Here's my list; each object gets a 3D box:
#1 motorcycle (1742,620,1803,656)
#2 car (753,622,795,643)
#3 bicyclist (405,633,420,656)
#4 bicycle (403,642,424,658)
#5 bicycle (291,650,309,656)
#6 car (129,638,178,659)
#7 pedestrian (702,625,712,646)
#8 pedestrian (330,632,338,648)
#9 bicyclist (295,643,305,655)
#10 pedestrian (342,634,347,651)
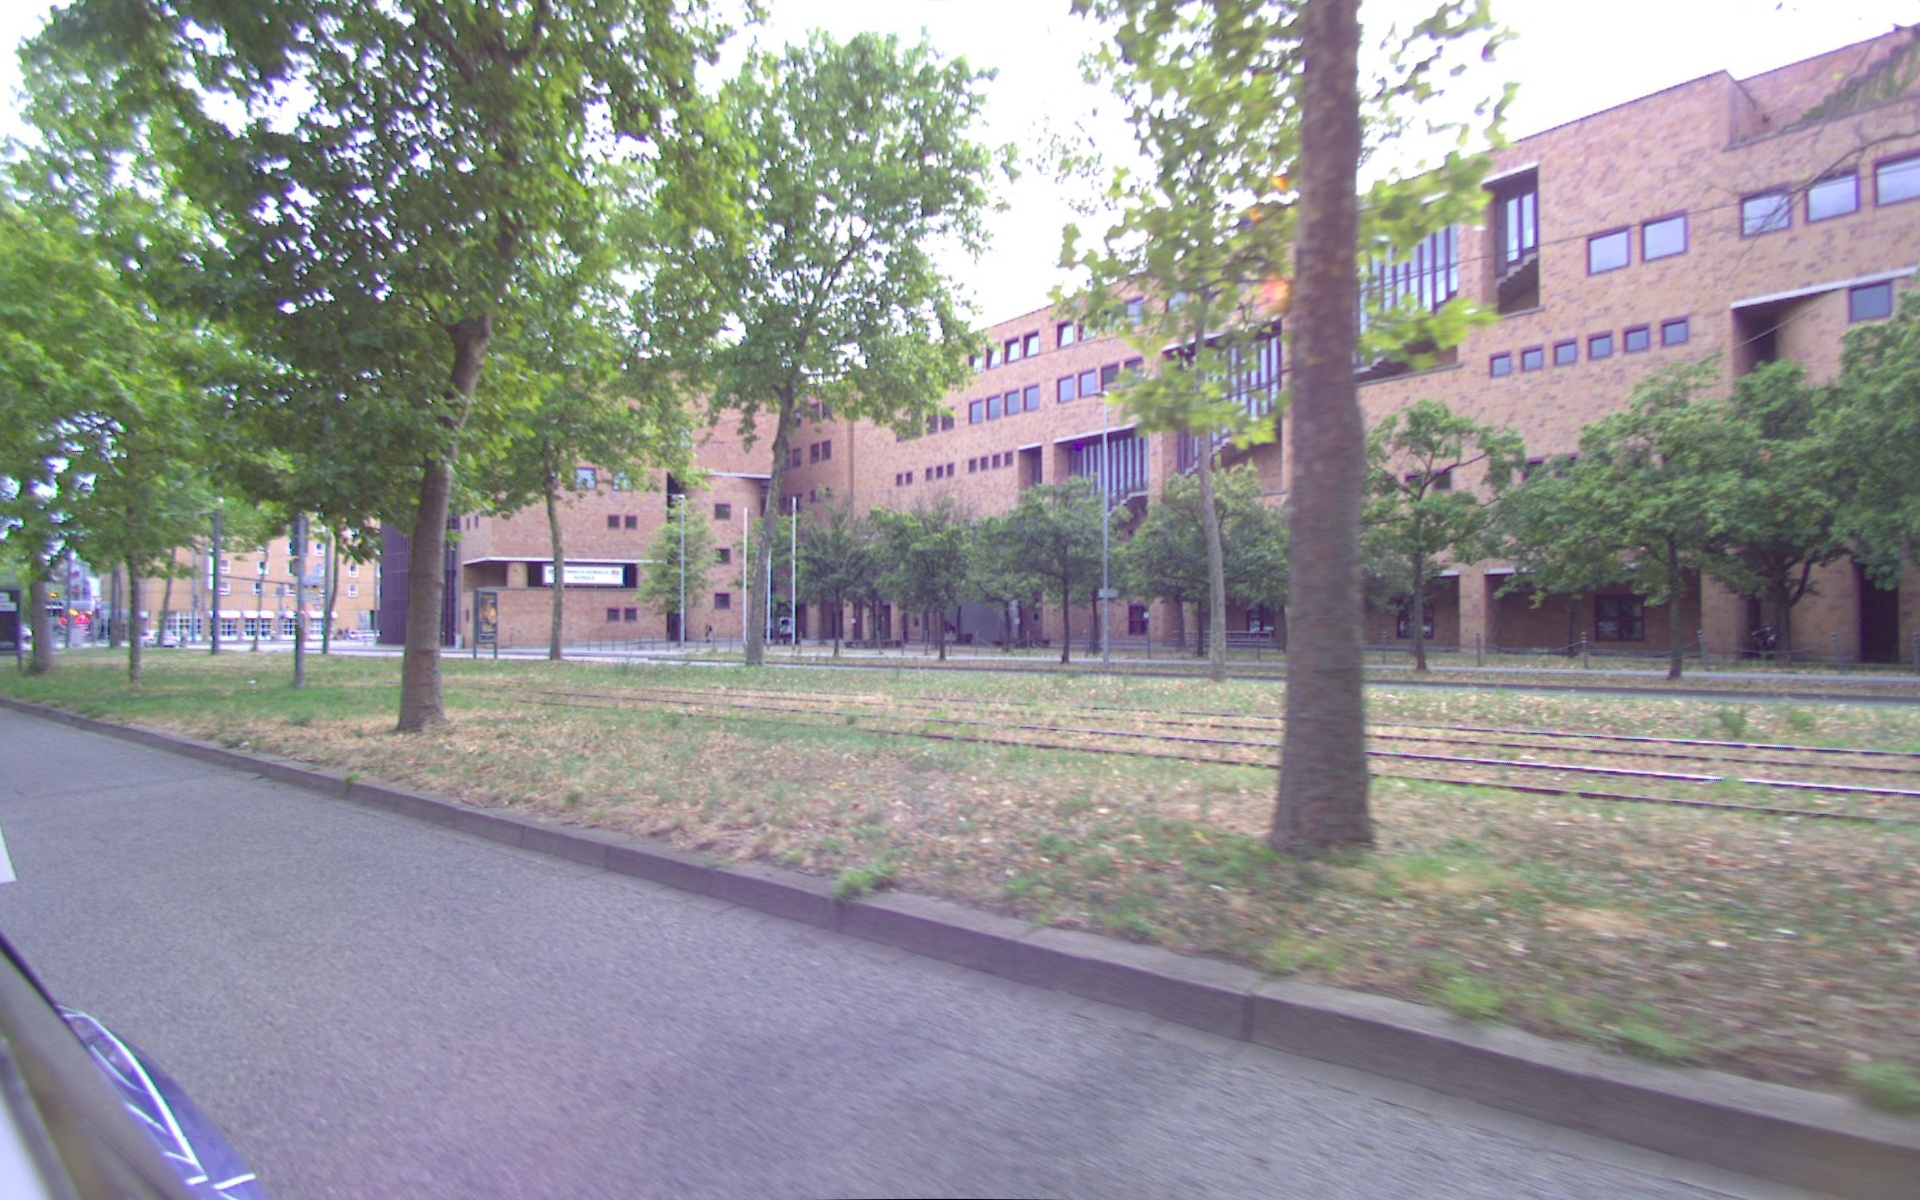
[{"bbox_3d":[27.699,1.287,34.542,0.790,1.200,2.185,-1,-2,16],"label":"motorcycle"},{"bbox_3d":[-16.206,2.814,88.001,1.869,1.821,4.007,1,-2,-39],"label":"car"},{"bbox_3d":[-39.232,3.207,72.575,0.984,1.603,0.657,-3,-3,42],"label":"bicyclist"},{"bbox_3d":[-39.187,3.569,72.523,2.093,1.092,0.661,-3,-3,43],"label":"bicycle"},{"bbox_3d":[-85.120,6.832,130.497,0.639,0.787,1.774,-1,-2,37],"label":"bicycle"},{"bbox_3d":[-59.058,3.551,74.063,4.652,1.432,1.766,-2,-3,38],"label":"car"},{"bbox_3d":[-18.399,2.561,73.598,0.500,1.543,0.521,1,-2,-36],"label":"pedestrian"},{"bbox_3d":[-69.780,4.473,112.792,0.542,1.745,0.534,-2,-2,37],"label":"pedestrian"},{"bbox_3d":[-85.110,6.280,130.510,0.635,1.513,0.855,-1,-2,37],"label":"bicyclist"},{"bbox_3d":[-74.918,5.172,123.214,0.516,2.029,0.447,1,-2,-36],"label":"pedestrian"}]
